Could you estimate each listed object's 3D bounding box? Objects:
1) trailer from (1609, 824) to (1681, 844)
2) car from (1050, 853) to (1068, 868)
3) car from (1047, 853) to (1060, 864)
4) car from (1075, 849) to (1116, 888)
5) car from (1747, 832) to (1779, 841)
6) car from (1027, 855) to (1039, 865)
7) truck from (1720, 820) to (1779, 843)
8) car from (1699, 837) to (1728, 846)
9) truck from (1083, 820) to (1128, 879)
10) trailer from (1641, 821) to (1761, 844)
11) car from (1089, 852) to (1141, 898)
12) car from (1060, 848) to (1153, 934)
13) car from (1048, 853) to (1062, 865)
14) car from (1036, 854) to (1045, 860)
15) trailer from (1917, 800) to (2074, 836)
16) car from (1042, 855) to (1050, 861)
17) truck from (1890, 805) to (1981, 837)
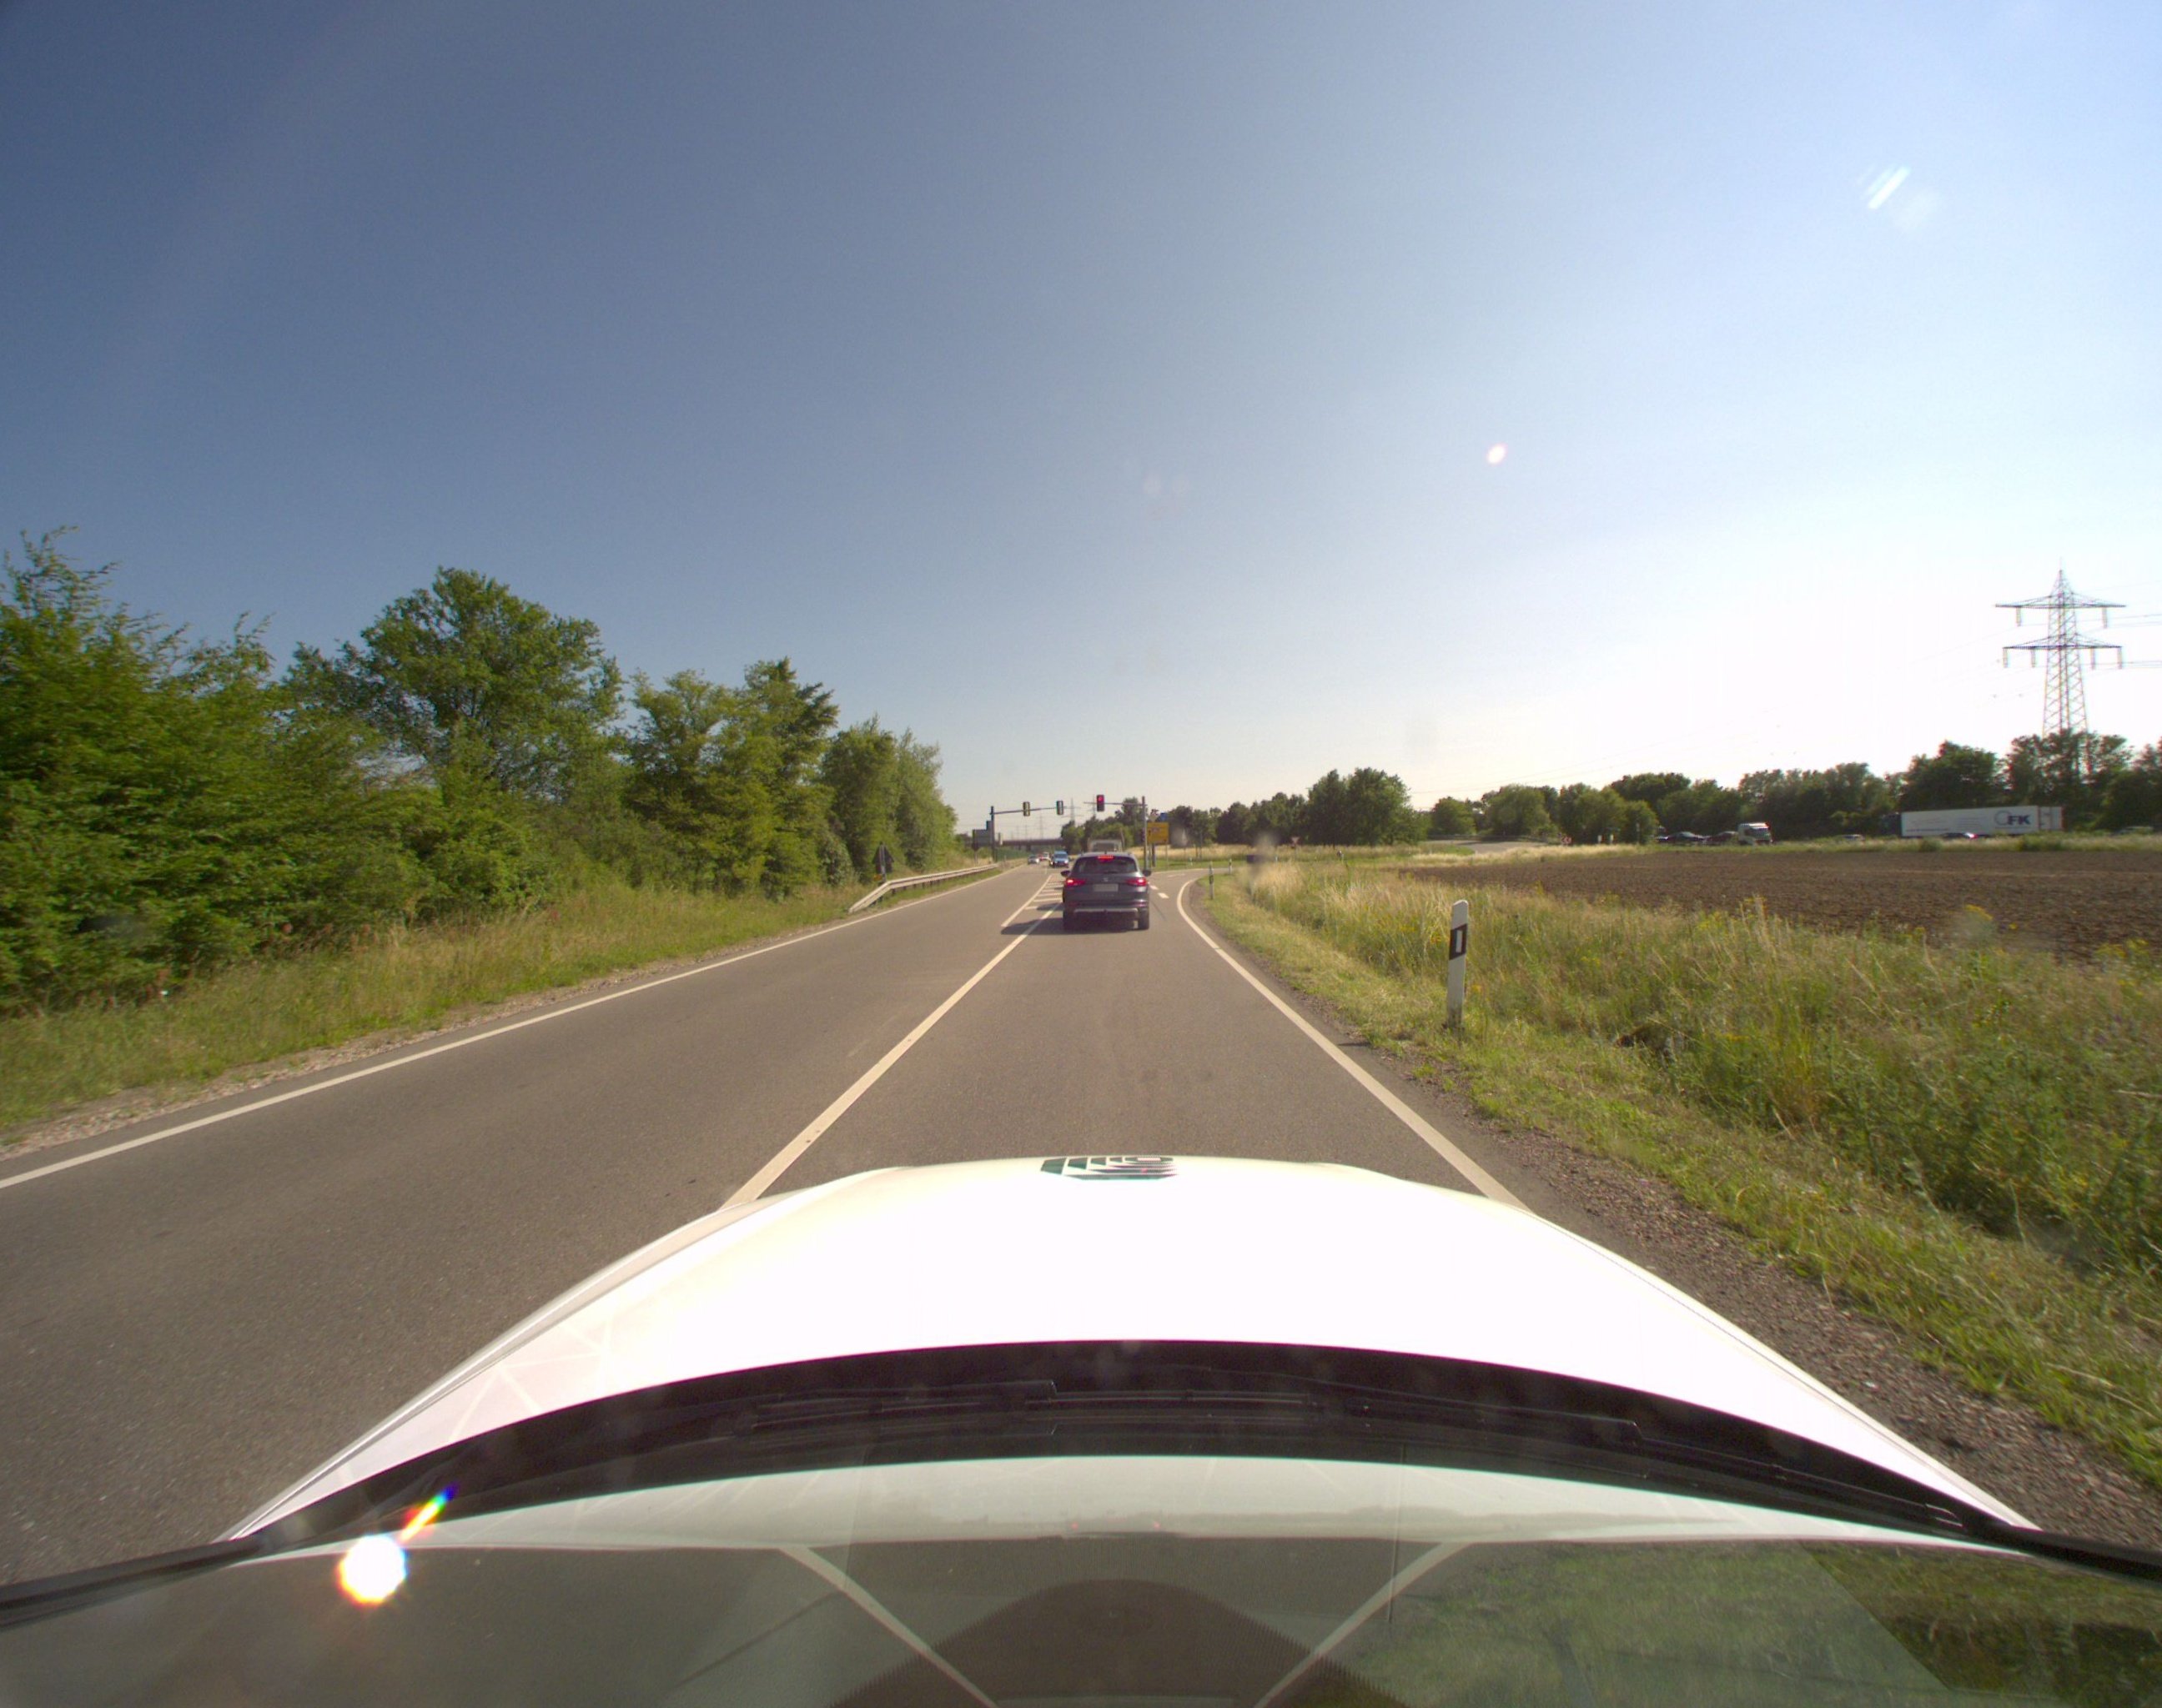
[{"bbox_3d":[99.434,-3.375,143.919,3.274,3.267,13.449,-2,1,-1],"label":"trailer"},{"bbox_3d":[-2.392,0.647,89.340,1.812,1.540,3.995,-2,0,-3],"label":"car"},{"bbox_3d":[-3.678,0.643,108.518,1.680,1.380,3.529,-1,0,-3],"label":"car"},{"bbox_3d":[0.634,0.622,37.849,1.780,1.675,4.000,-1,0,0],"label":"car"},{"bbox_3d":[92.756,-2.348,110.778,1.391,1.151,3.579,0,1,-2],"label":"car"},{"bbox_3d":[-7.369,0.912,125.556,1.820,1.431,3.995,-2,0,-4],"label":"car"},{"bbox_3d":[80.824,-2.715,98.556,2.505,2.531,5.533,-2,0,-1],"label":"truck"},{"bbox_3d":[99.291,-1.921,127.910,1.765,1.372,3.625,0,0,1],"label":"car"},{"bbox_3d":[1.371,-0.218,45.496,2.329,3.066,5.811,-1,-1,1],"label":"truck"},{"bbox_3d":[80.712,-2.725,106.869,2.505,2.531,17.079,-2,0,-1],"label":"trailer"},{"bbox_3d":[1.228,0.739,30.700,1.780,1.543,4.000,-1,0,0],"label":"car"},{"bbox_3d":[0.504,0.706,17.949,1.780,1.629,4.000,-1,0,0],"label":"car"},{"bbox_3d":[-3.255,0.638,102.067,1.680,1.380,3.529,-1,0,-3],"label":"car"},{"bbox_3d":[-9.267,0.712,186.187,1.758,1.431,3.995,-2,0,-4],"label":"car"},{"bbox_3d":[100.754,-3.830,90.244,3.274,3.267,12.451,-2,0,-1],"label":"trailer"},{"bbox_3d":[-8.530,0.862,196.925,1.758,1.334,3.995,-2,0,-4],"label":"car"},{"bbox_3d":[100.691,-3.820,96.153,3.274,3.267,6.976,-2,0,-1],"label":"truck"}]
